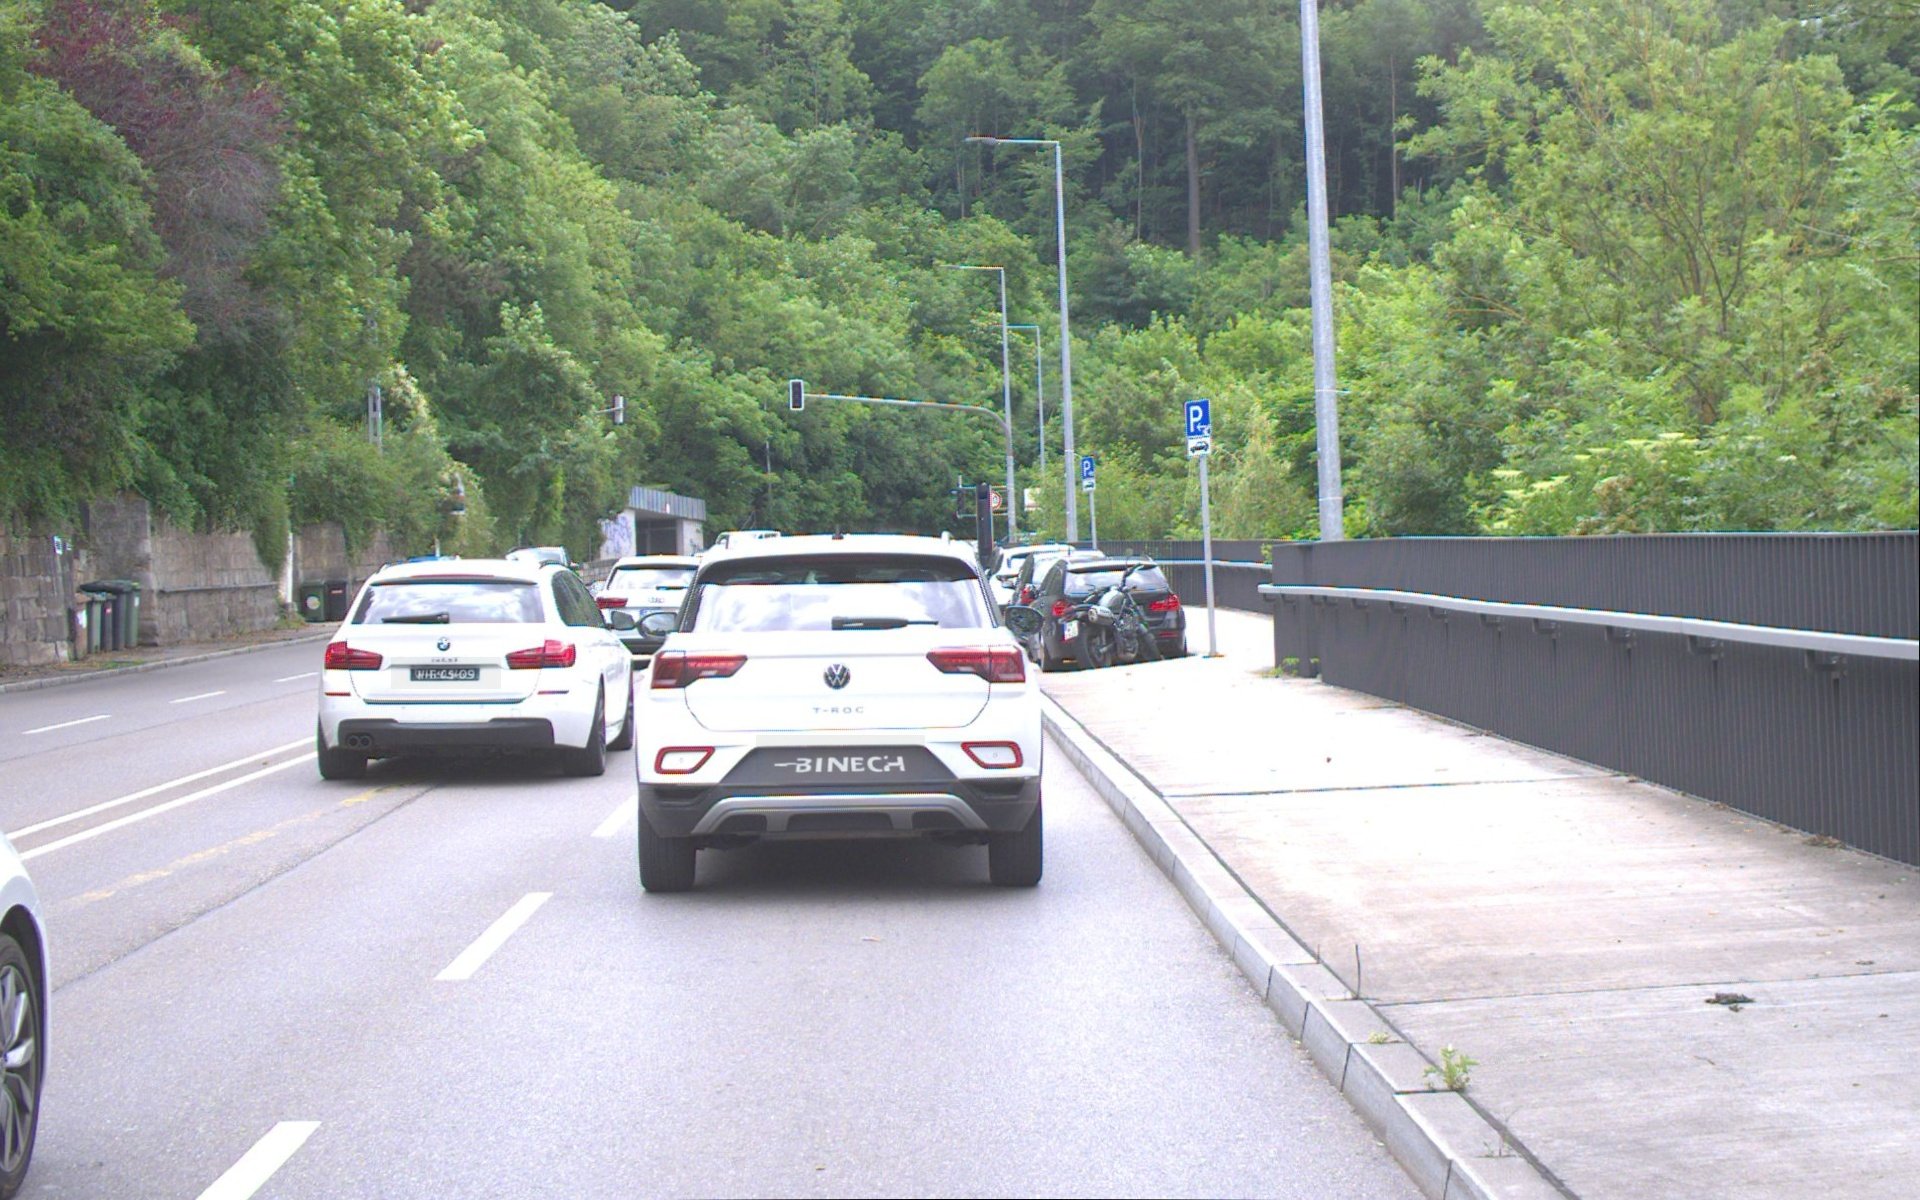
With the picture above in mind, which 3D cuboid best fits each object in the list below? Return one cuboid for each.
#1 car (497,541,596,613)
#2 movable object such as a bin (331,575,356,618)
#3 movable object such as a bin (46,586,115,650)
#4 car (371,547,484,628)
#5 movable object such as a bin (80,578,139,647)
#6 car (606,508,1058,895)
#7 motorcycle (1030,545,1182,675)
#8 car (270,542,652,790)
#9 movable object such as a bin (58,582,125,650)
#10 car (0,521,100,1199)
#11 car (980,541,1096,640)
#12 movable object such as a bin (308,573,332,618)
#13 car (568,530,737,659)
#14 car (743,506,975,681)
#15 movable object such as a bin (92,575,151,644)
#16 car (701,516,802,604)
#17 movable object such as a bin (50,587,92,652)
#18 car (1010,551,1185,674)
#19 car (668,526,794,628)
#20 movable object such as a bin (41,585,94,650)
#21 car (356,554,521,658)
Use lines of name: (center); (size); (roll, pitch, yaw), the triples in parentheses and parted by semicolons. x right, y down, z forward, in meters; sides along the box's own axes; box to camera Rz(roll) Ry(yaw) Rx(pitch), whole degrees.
car: (-9.991, -0.568, 83.295); (1.815, 1.691, 4.470); (0, 1, 1)
movable object such as a bin: (-13.435, -0.077, 74.925); (0.479, 0.933, 0.366); (1, 0, -5)
movable object such as a bin: (-13.452, 0.272, 52.603); (0.916, 0.942, 0.594); (-1, 1, -4)
car: (-10.107, -0.261, 65.390); (1.583, 1.456, 3.523); (-1, 1, 0)
movable object such as a bin: (-13.355, 0.189, 53.990); (0.772, 1.058, 0.718); (-1, 1, -4)
car: (-0.553, 0.419, 16.161); (1.813, 1.534, 4.008); (-2, 0, -1)
motorcycle: (1.719, 0.092, 39.926); (0.771, 1.462, 2.501); (0, 1, 28)
car: (-3.354, 0.375, 24.013); (1.993, 1.552, 4.681); (0, 1, 0)
movable object such as a bin: (-13.437, 0.243, 53.229); (0.898, 1.030, 0.621); (-1, 1, -4)
car: (-2.970, 0.623, 6.396); (1.720, 1.549, 4.276); (0, 1, -1)
car: (1.296, -0.183, 58.732); (1.726, 1.563, 4.624); (-2, 1, -1)
movable object such as a bin: (-13.941, -0.095, 74.890); (0.477, 0.968, 0.368); (1, 0, -5)
car: (-3.972, -0.073, 45.013); (1.862, 1.589, 4.000); (1, 0, -1)
car: (-1.075, -0.087, 38.794); (1.994, 1.837, 4.149); (1, 0, 7)
movable object such as a bin: (-13.344, 0.147, 54.728); (0.787, 1.067, 0.709); (-1, 2, -4)
car: (-4.517, -0.876, 75.016); (1.993, 1.858, 4.000); (0, 1, 0)
movable object such as a bin: (-13.245, 0.288, 51.240); (0.516, 0.962, 0.474); (-1, 1, -4)
car: (1.709, 0.122, 43.966); (1.823, 1.396, 4.320); (-3, 1, -2)
car: (-4.009, -0.431, 60.780); (1.993, 1.735, 4.000); (0, 1, -1)
movable object such as a bin: (-13.484, 0.266, 51.961); (0.673, 0.962, 0.543); (-1, 1, -4)
car: (-7.547, 0.057, 50.087); (1.856, 1.441, 4.296); (0, 1, -2)
